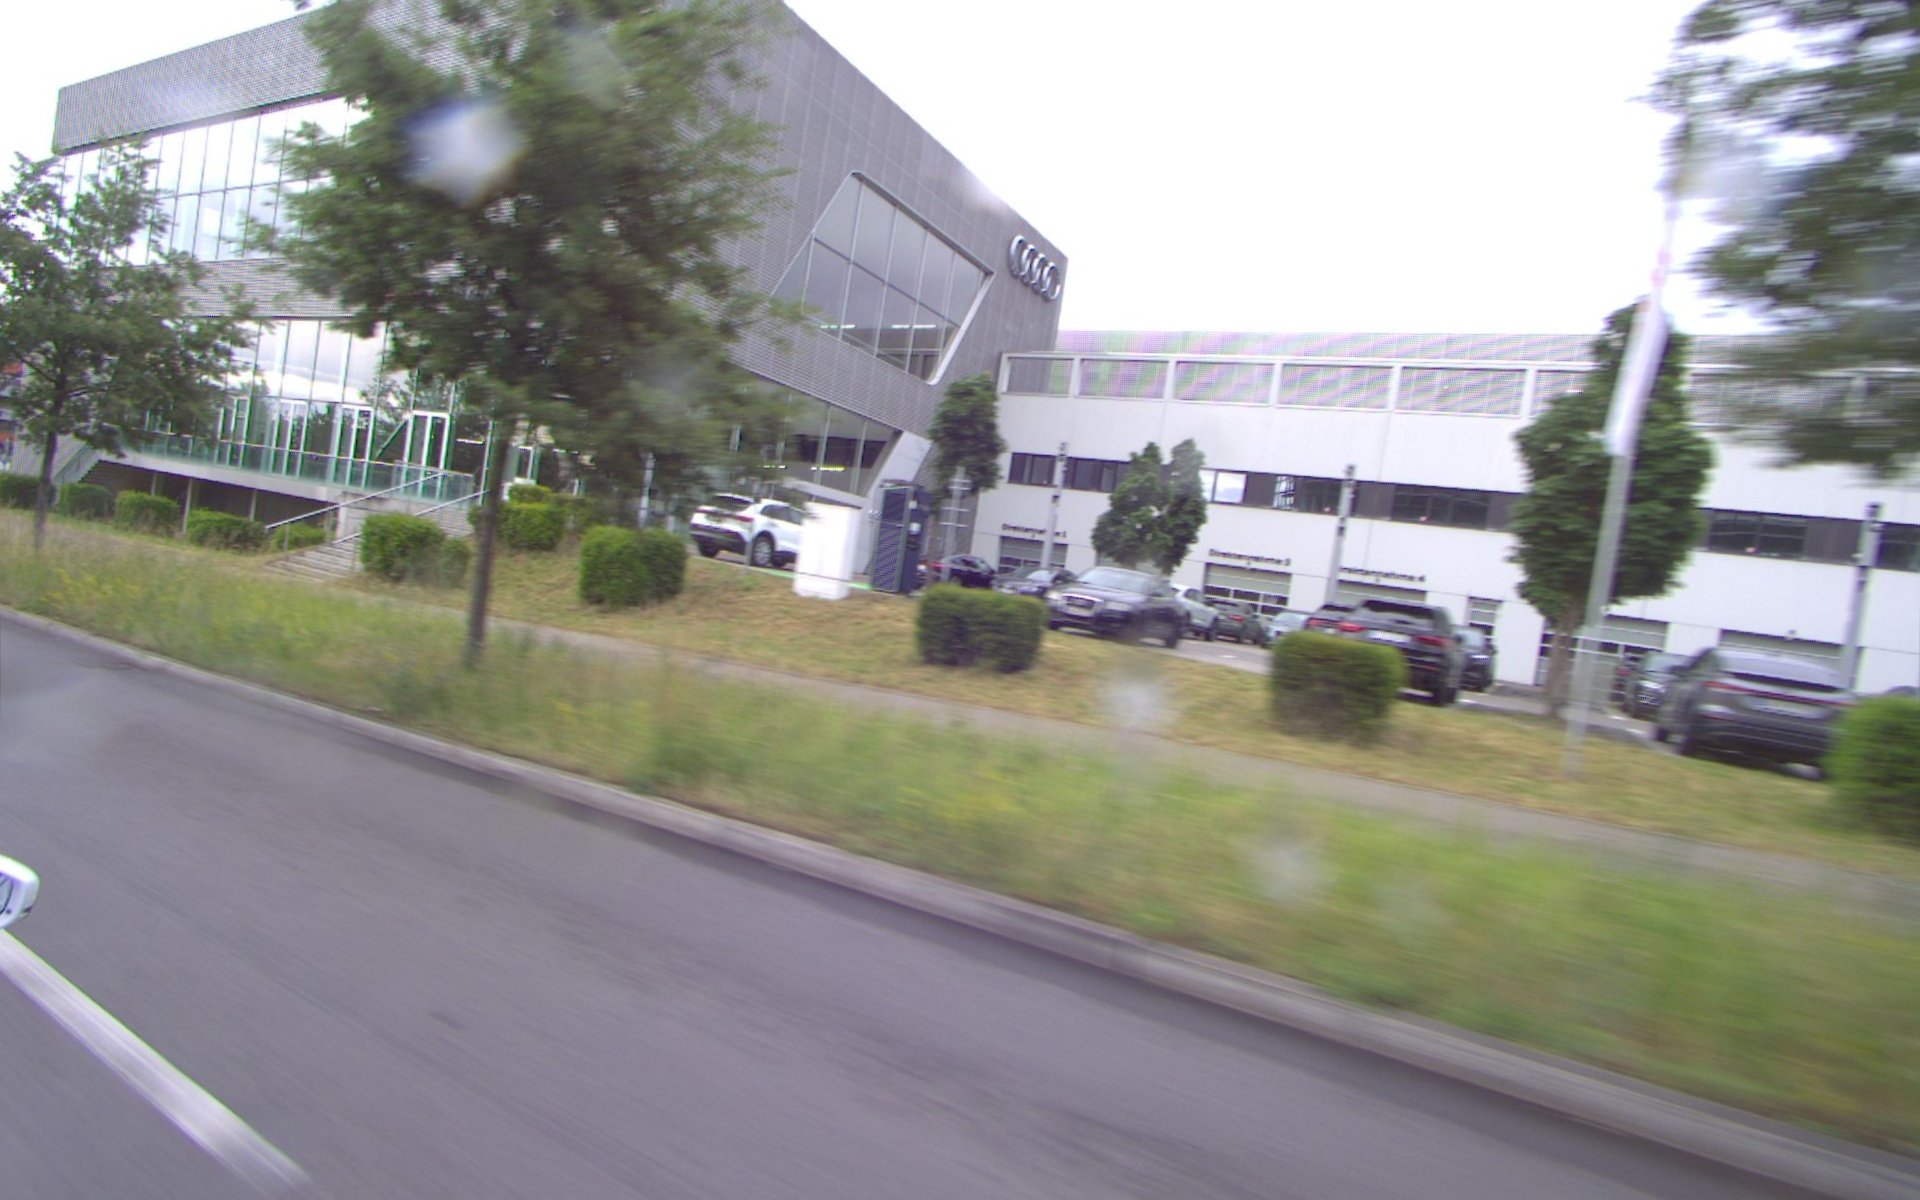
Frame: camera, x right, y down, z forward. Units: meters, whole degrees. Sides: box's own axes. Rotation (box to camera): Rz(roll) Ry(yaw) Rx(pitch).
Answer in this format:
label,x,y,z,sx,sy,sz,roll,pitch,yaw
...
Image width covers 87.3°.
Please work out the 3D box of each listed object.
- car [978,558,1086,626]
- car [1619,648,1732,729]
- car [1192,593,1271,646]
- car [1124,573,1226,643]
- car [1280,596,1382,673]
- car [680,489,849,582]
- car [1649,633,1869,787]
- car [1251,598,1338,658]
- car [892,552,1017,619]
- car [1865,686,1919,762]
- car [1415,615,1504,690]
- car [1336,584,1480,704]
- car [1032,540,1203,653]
label,x,y,z,sx,sy,sz,roll,pitch,yaw
car,2.414,-0.215,32.795,1.730,1.592,4.115,8,-2,30
car,17.124,2.133,24.240,1.664,1.593,4.113,6,-1,30
car,9.497,0.710,35.047,1.667,1.479,3.596,9,2,29
car,6.573,0.292,30.423,1.664,1.592,4.115,8,-2,30
car,10.126,0.980,27.279,1.795,1.592,4.115,8,-2,30
car,-4.839,-1.565,25.510,1.664,1.592,4.269,8,-2,30
car,11.299,1.476,14.540,1.664,1.629,4.110,11,2,30
car,11.206,0.963,33.599,1.669,1.613,3.551,9,2,34
car,-0.119,-0.458,33.453,1.670,1.592,4.100,7,-2,43
car,21.666,2.828,22.110,1.664,1.592,4.114,7,-2,30
car,13.087,1.420,26.232,1.664,1.593,4.113,8,0,30
car,7.688,0.826,17.032,1.664,1.592,4.115,8,-2,30
car,3.190,0.011,19.573,1.664,1.592,4.431,8,-2,30
